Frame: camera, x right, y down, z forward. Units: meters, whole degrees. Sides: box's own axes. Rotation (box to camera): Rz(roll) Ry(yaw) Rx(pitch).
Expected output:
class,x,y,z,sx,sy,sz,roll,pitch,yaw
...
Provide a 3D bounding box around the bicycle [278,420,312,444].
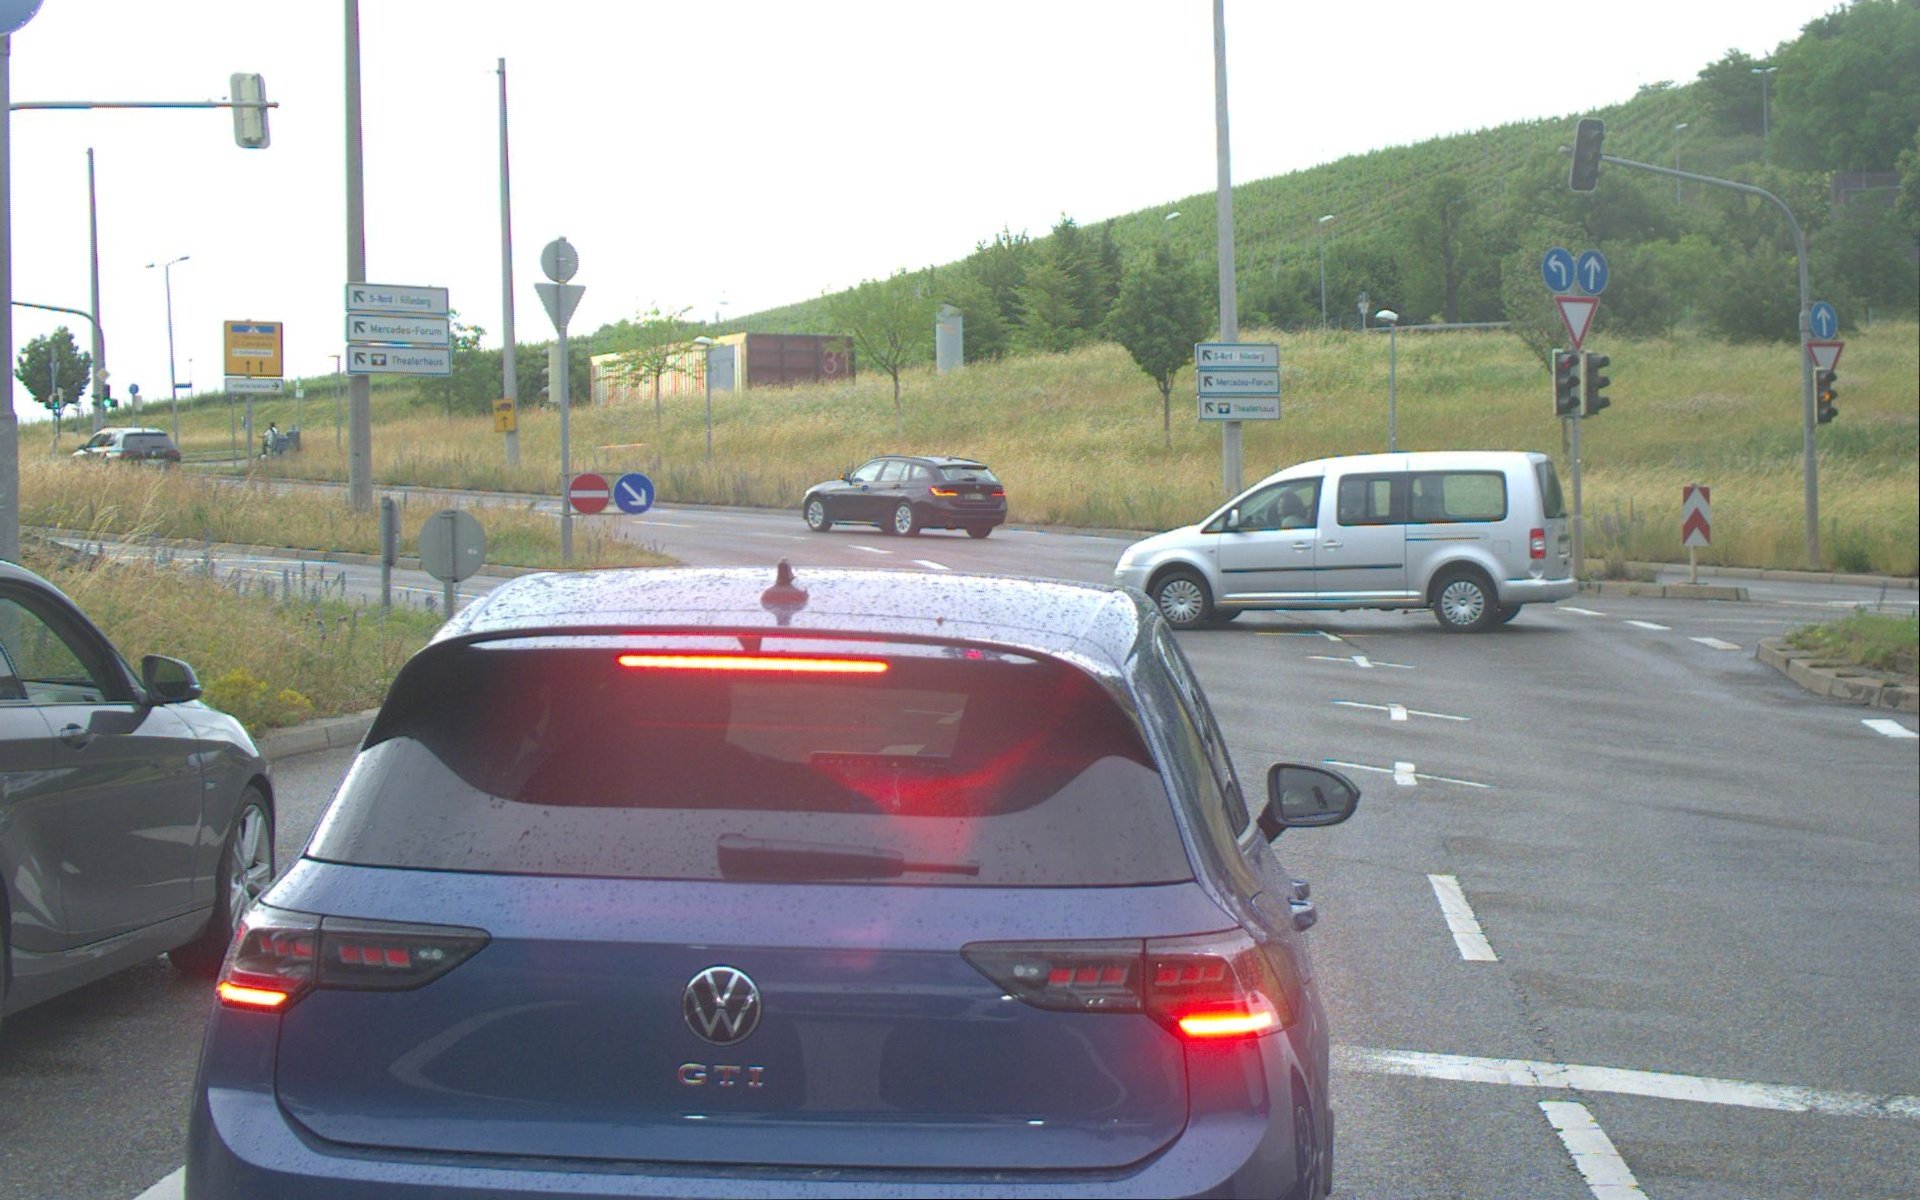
class,x,y,z,sx,sy,sz,roll,pitch,yaw
bicycle,-22.816,-5.773,117.971,0.518,0.772,1.621,2,1,-33

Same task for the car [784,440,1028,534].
class,x,y,z,sx,sy,sz,roll,pitch,yaw
car,-1.033,-2.065,62.729,1.994,1.612,4.851,0,2,-36

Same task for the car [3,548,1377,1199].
class,x,y,z,sx,sy,sz,roll,pitch,yaw
car,-0.215,0.638,6.431,1.825,1.455,3.808,0,1,5

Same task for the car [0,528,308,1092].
class,x,y,z,sx,sy,sz,roll,pitch,yaw
car,-3.260,0.528,9.774,1.703,1.454,4.114,0,1,5

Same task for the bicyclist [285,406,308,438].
class,x,y,z,sx,sy,sz,roll,pitch,yaw
bicyclist,-22.750,-6.113,117.901,0.523,1.043,0.580,3,1,-34

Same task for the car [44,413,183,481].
class,x,y,z,sx,sy,sz,roll,pitch,yaw
car,-22.566,-4.044,91.574,1.994,1.631,4.420,1,0,-37

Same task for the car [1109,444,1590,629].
class,x,y,z,sx,sy,sz,roll,pitch,yaw
car,4.089,-0.664,36.052,4.688,1.844,1.820,1,0,21
